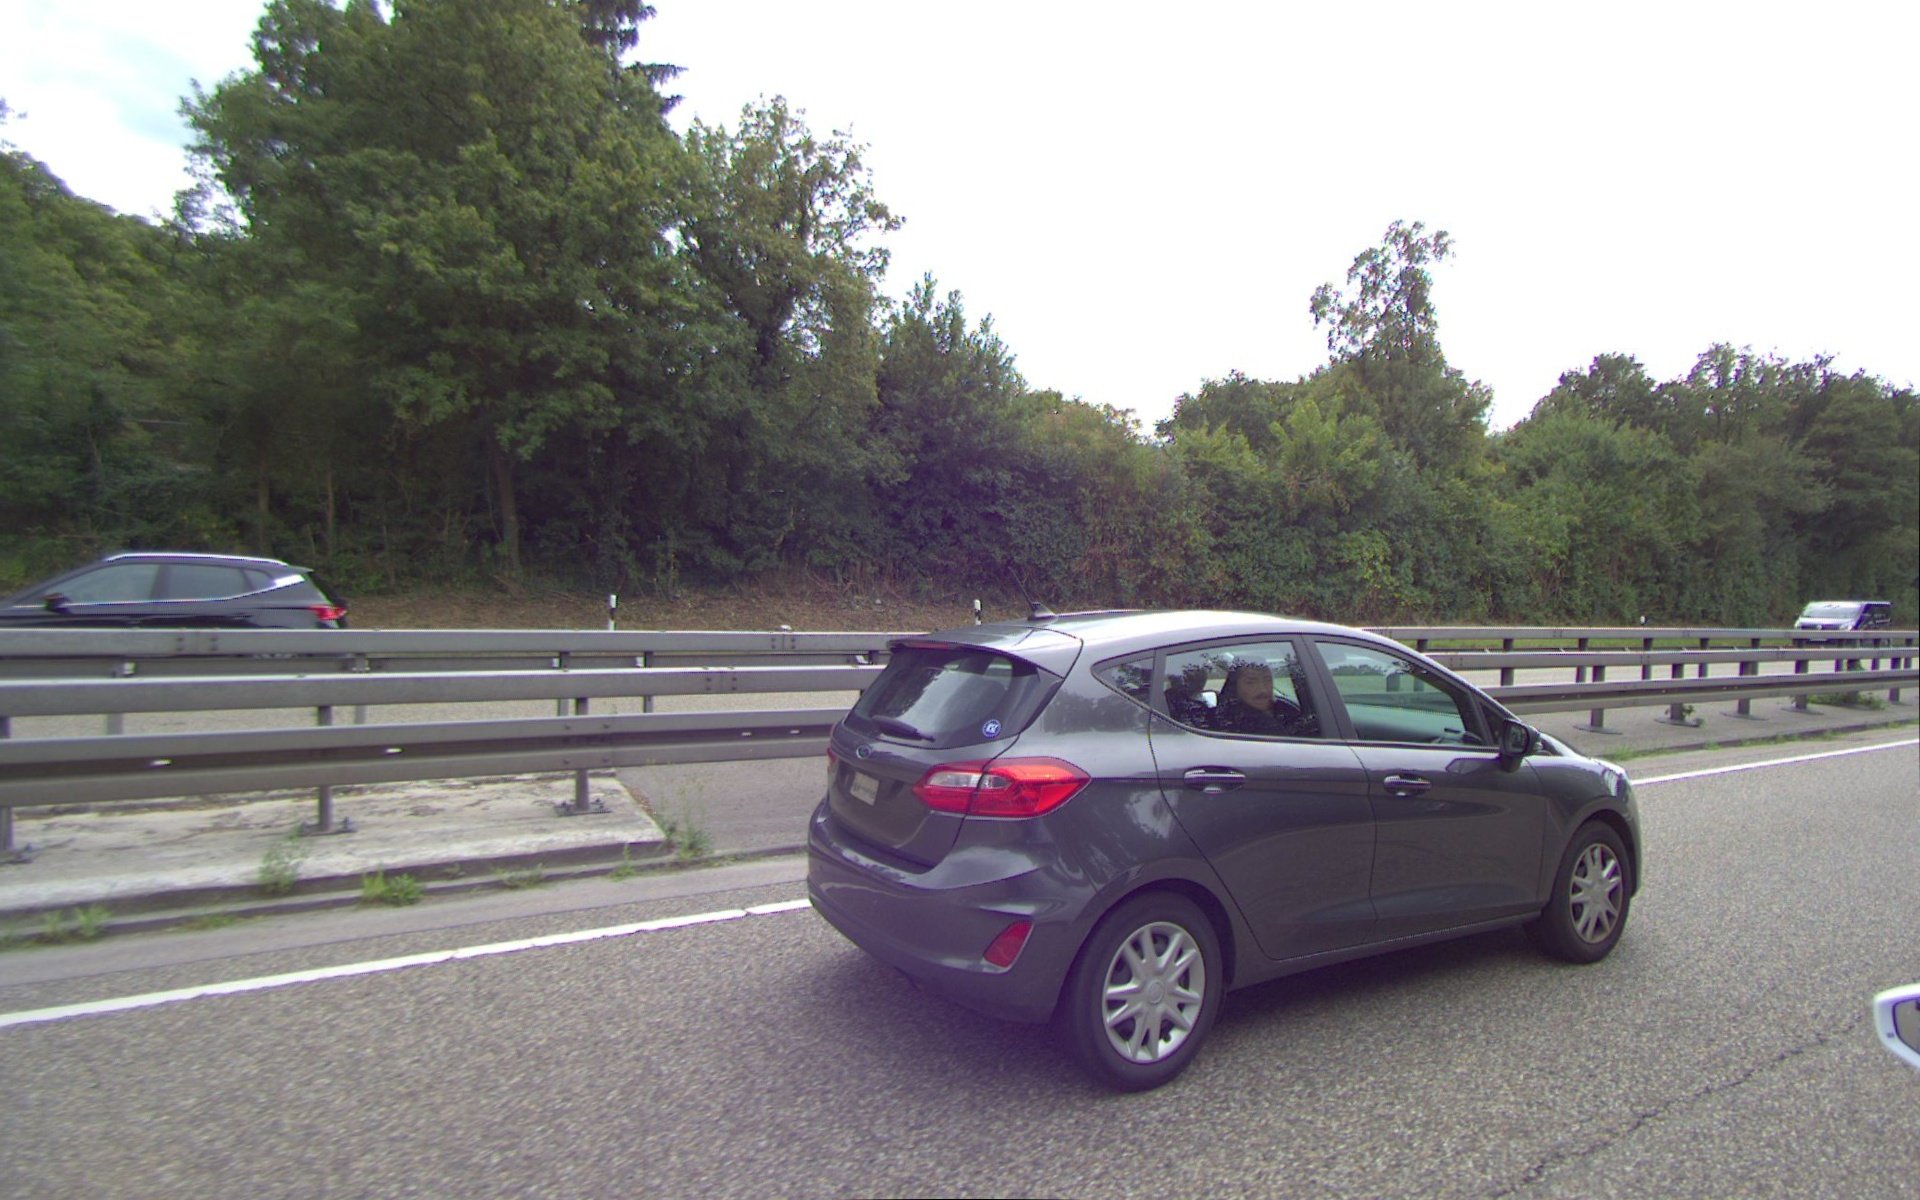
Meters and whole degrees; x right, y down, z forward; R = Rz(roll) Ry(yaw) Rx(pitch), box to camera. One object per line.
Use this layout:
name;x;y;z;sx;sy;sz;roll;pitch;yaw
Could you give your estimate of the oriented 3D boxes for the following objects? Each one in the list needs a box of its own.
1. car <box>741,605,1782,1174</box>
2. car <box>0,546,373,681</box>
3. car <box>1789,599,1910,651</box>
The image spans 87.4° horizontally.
car;1.522;0.808;4.533;4.583;1.477;1.818;1;-1;-29
car;-8.898;0.156;11.187;4.023;1.317;1.967;1;-1;-32
car;33.645;0.947;37.960;5.065;1.828;2.024;1;-1;-32
